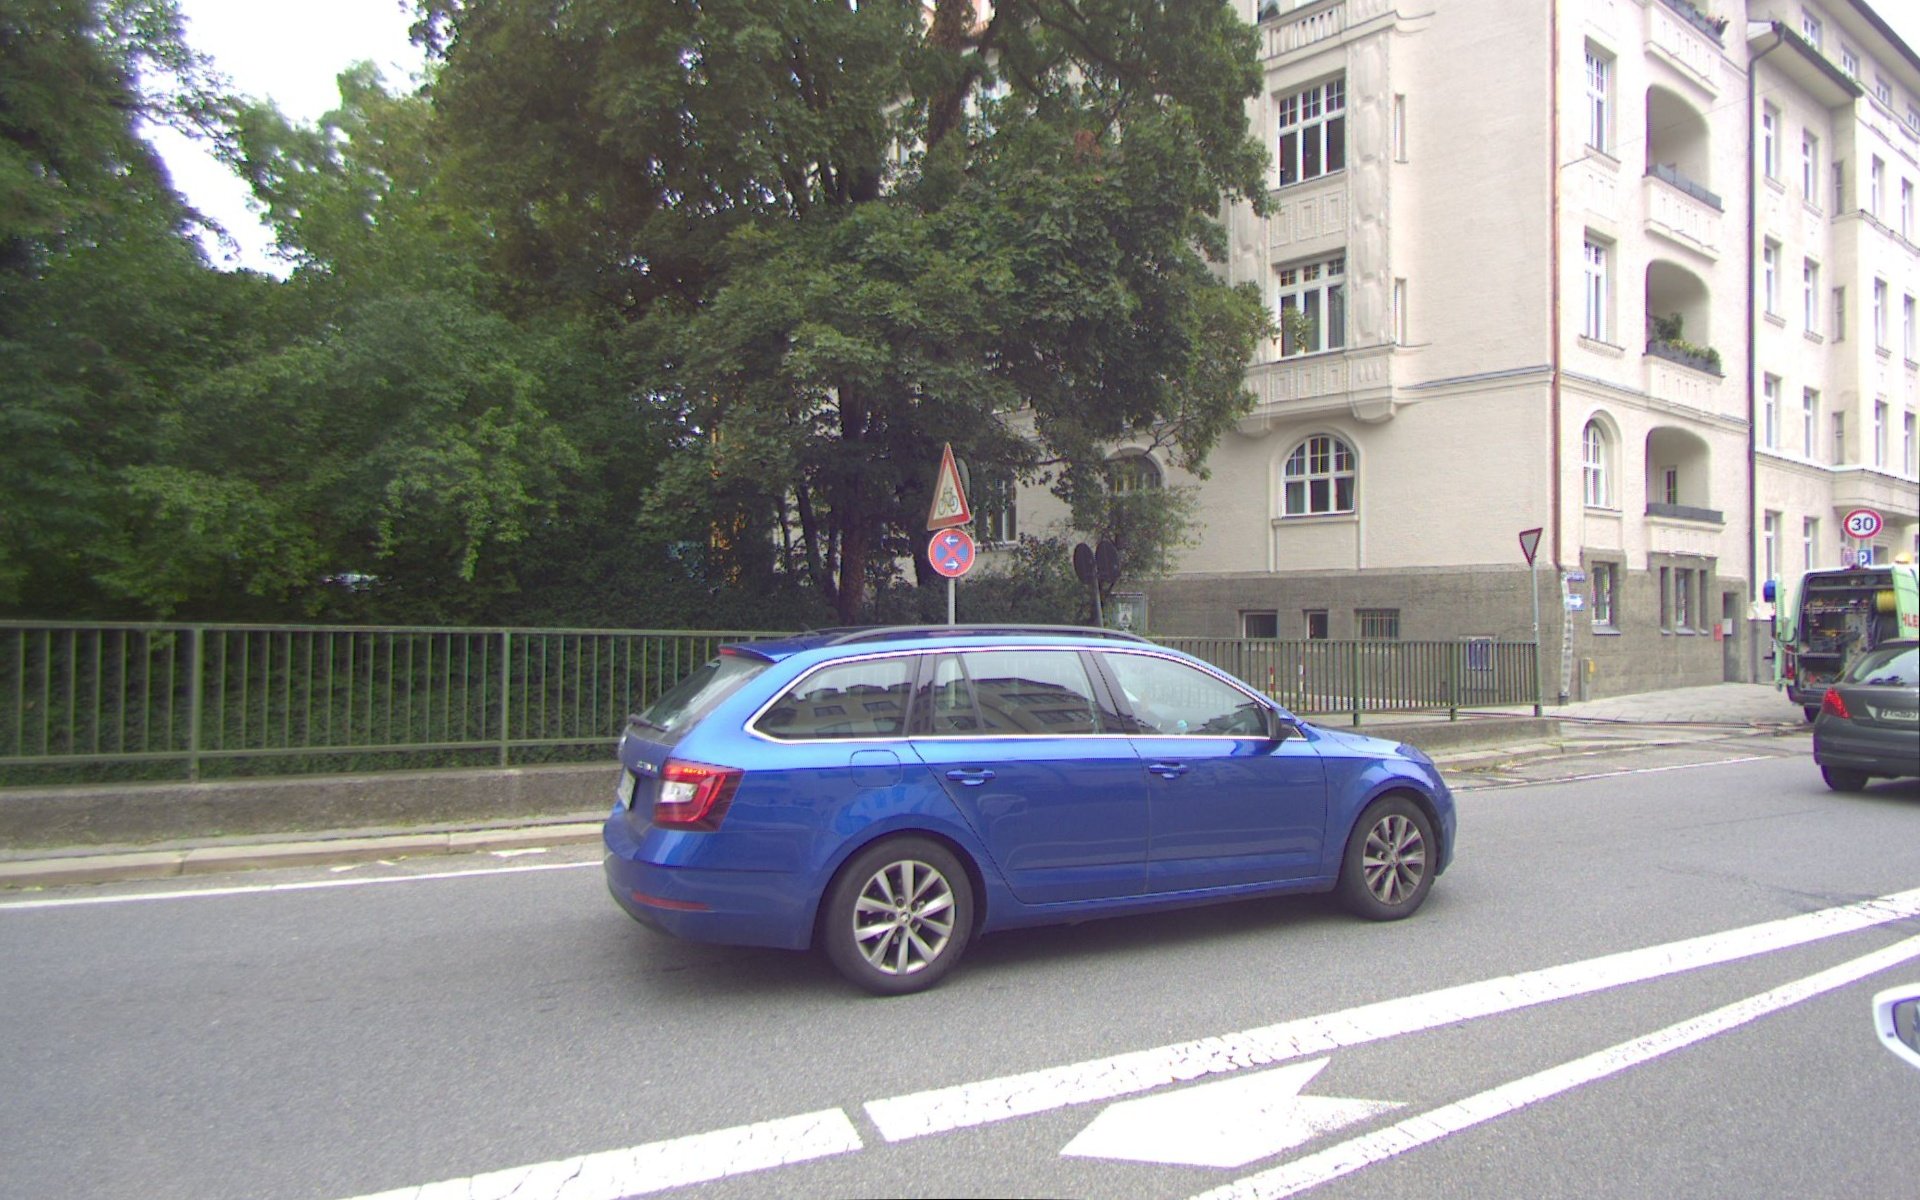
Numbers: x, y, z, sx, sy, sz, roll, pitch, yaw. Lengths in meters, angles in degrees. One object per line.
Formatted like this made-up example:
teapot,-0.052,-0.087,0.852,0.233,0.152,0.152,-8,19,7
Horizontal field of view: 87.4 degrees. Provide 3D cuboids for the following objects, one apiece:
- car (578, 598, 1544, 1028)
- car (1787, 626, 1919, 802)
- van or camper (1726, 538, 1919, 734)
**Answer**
car,0.504,0.788,5.256,4.665,1.473,1.984,1,-2,-22
car,9.844,0.990,9.403,4.020,1.480,1.753,1,-2,-26
van or camper,16.060,0.549,17.316,6.117,2.878,2.586,0,-1,-32
